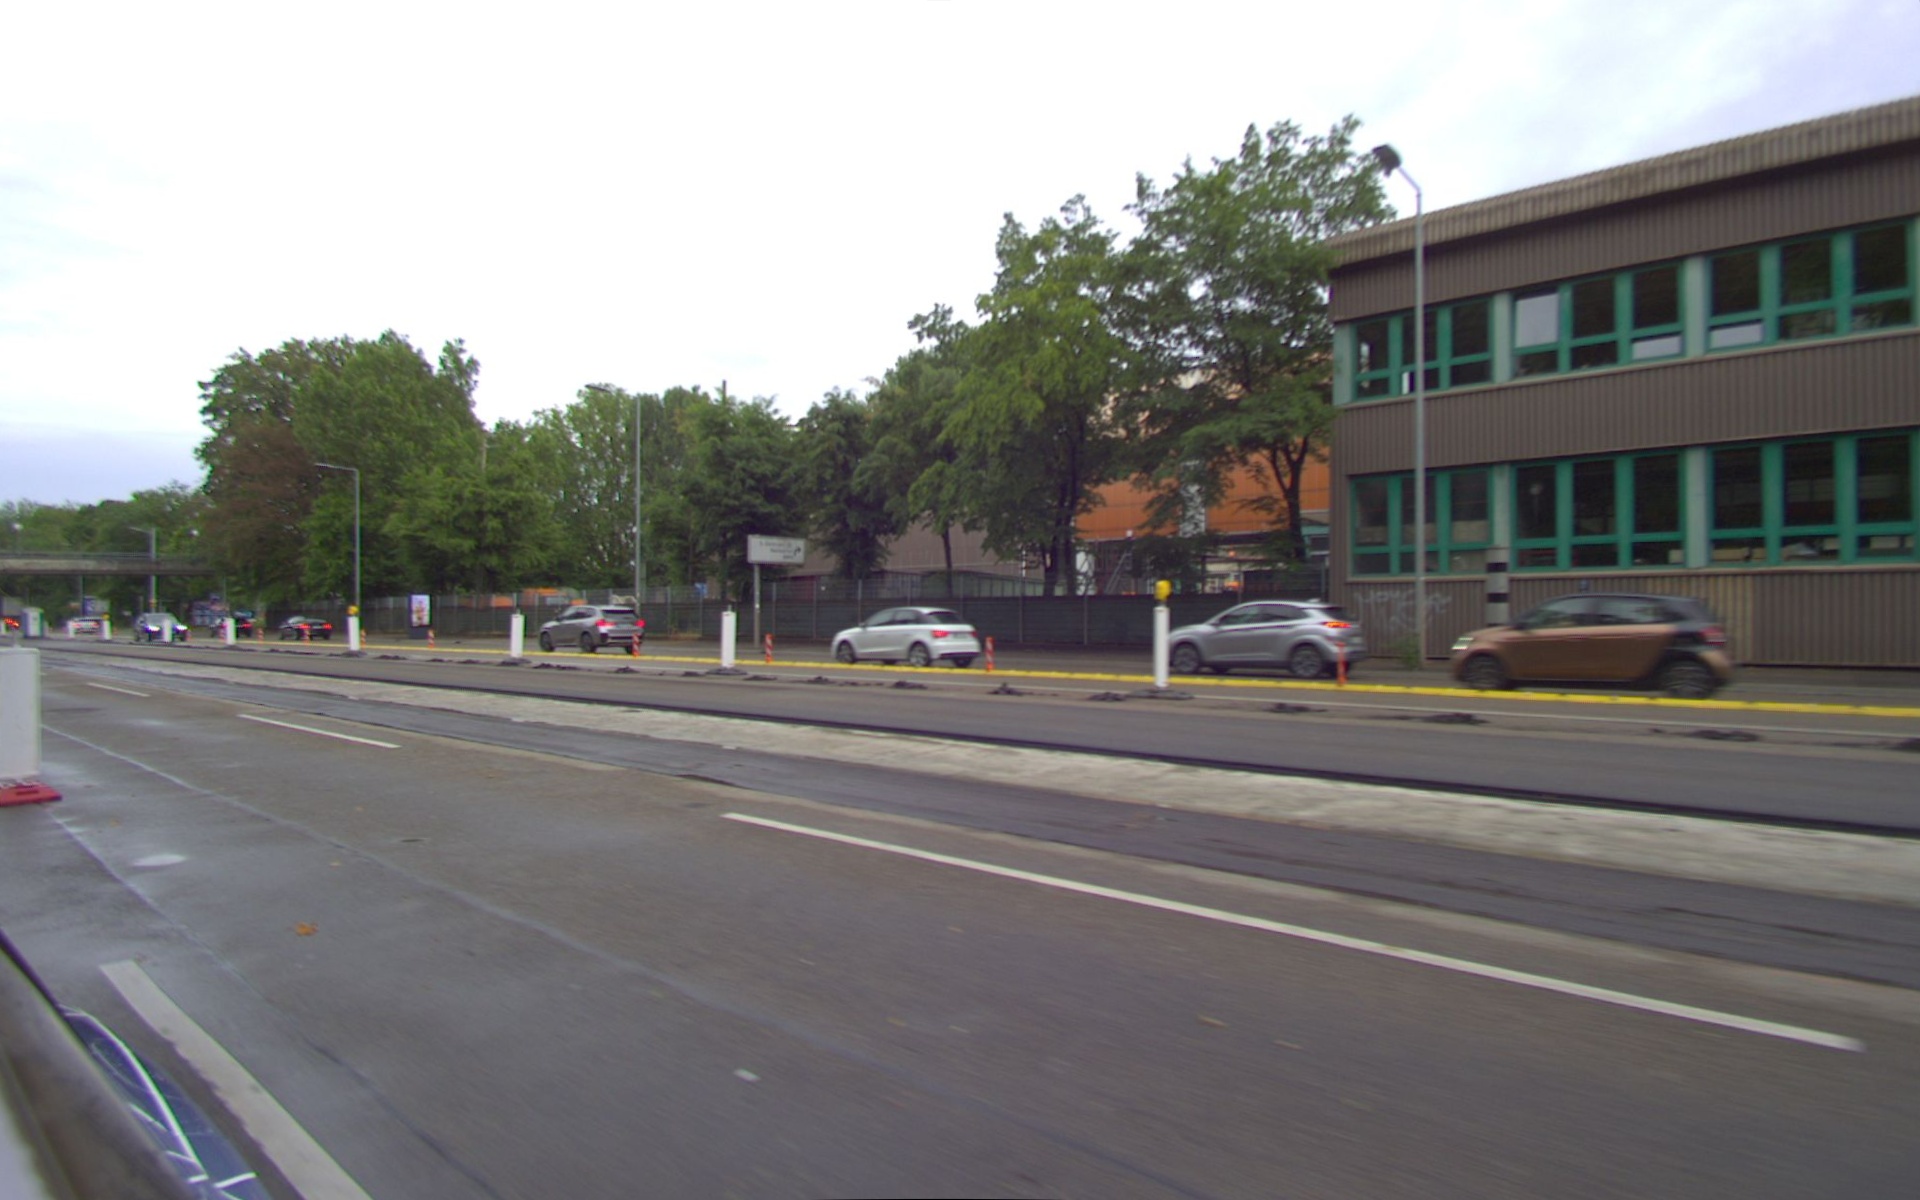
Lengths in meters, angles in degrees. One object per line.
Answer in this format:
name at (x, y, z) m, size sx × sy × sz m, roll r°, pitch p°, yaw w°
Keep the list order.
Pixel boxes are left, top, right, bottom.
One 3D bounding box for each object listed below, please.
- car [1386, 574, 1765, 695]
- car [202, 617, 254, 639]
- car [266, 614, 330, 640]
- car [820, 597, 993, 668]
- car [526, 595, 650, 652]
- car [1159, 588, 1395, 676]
car at (8.937, 0.446, 14.954) m, size 4.515 × 1.513 × 1.874 m, roll -1°, pitch 0°, yaw 42°
car at (-51.396, 1.969, 71.008) m, size 4.261 × 1.440 × 1.974 m, roll -2°, pitch -1°, yaw 40°
car at (-39.797, 1.603, 60.803) m, size 4.762 × 1.465 × 2.025 m, roll -1°, pitch 0°, yaw 41°
car at (-1.335, 0.729, 24.192) m, size 3.989 × 1.546 × 1.785 m, roll -1°, pitch 0°, yaw 41°
car at (-12.539, 0.756, 33.954) m, size 4.673 × 1.781 × 1.967 m, roll -1°, pitch 0°, yaw 42°
car at (6.447, 0.607, 20.804) m, size 4.176 × 1.598 × 1.973 m, roll -1°, pitch 0°, yaw 41°
